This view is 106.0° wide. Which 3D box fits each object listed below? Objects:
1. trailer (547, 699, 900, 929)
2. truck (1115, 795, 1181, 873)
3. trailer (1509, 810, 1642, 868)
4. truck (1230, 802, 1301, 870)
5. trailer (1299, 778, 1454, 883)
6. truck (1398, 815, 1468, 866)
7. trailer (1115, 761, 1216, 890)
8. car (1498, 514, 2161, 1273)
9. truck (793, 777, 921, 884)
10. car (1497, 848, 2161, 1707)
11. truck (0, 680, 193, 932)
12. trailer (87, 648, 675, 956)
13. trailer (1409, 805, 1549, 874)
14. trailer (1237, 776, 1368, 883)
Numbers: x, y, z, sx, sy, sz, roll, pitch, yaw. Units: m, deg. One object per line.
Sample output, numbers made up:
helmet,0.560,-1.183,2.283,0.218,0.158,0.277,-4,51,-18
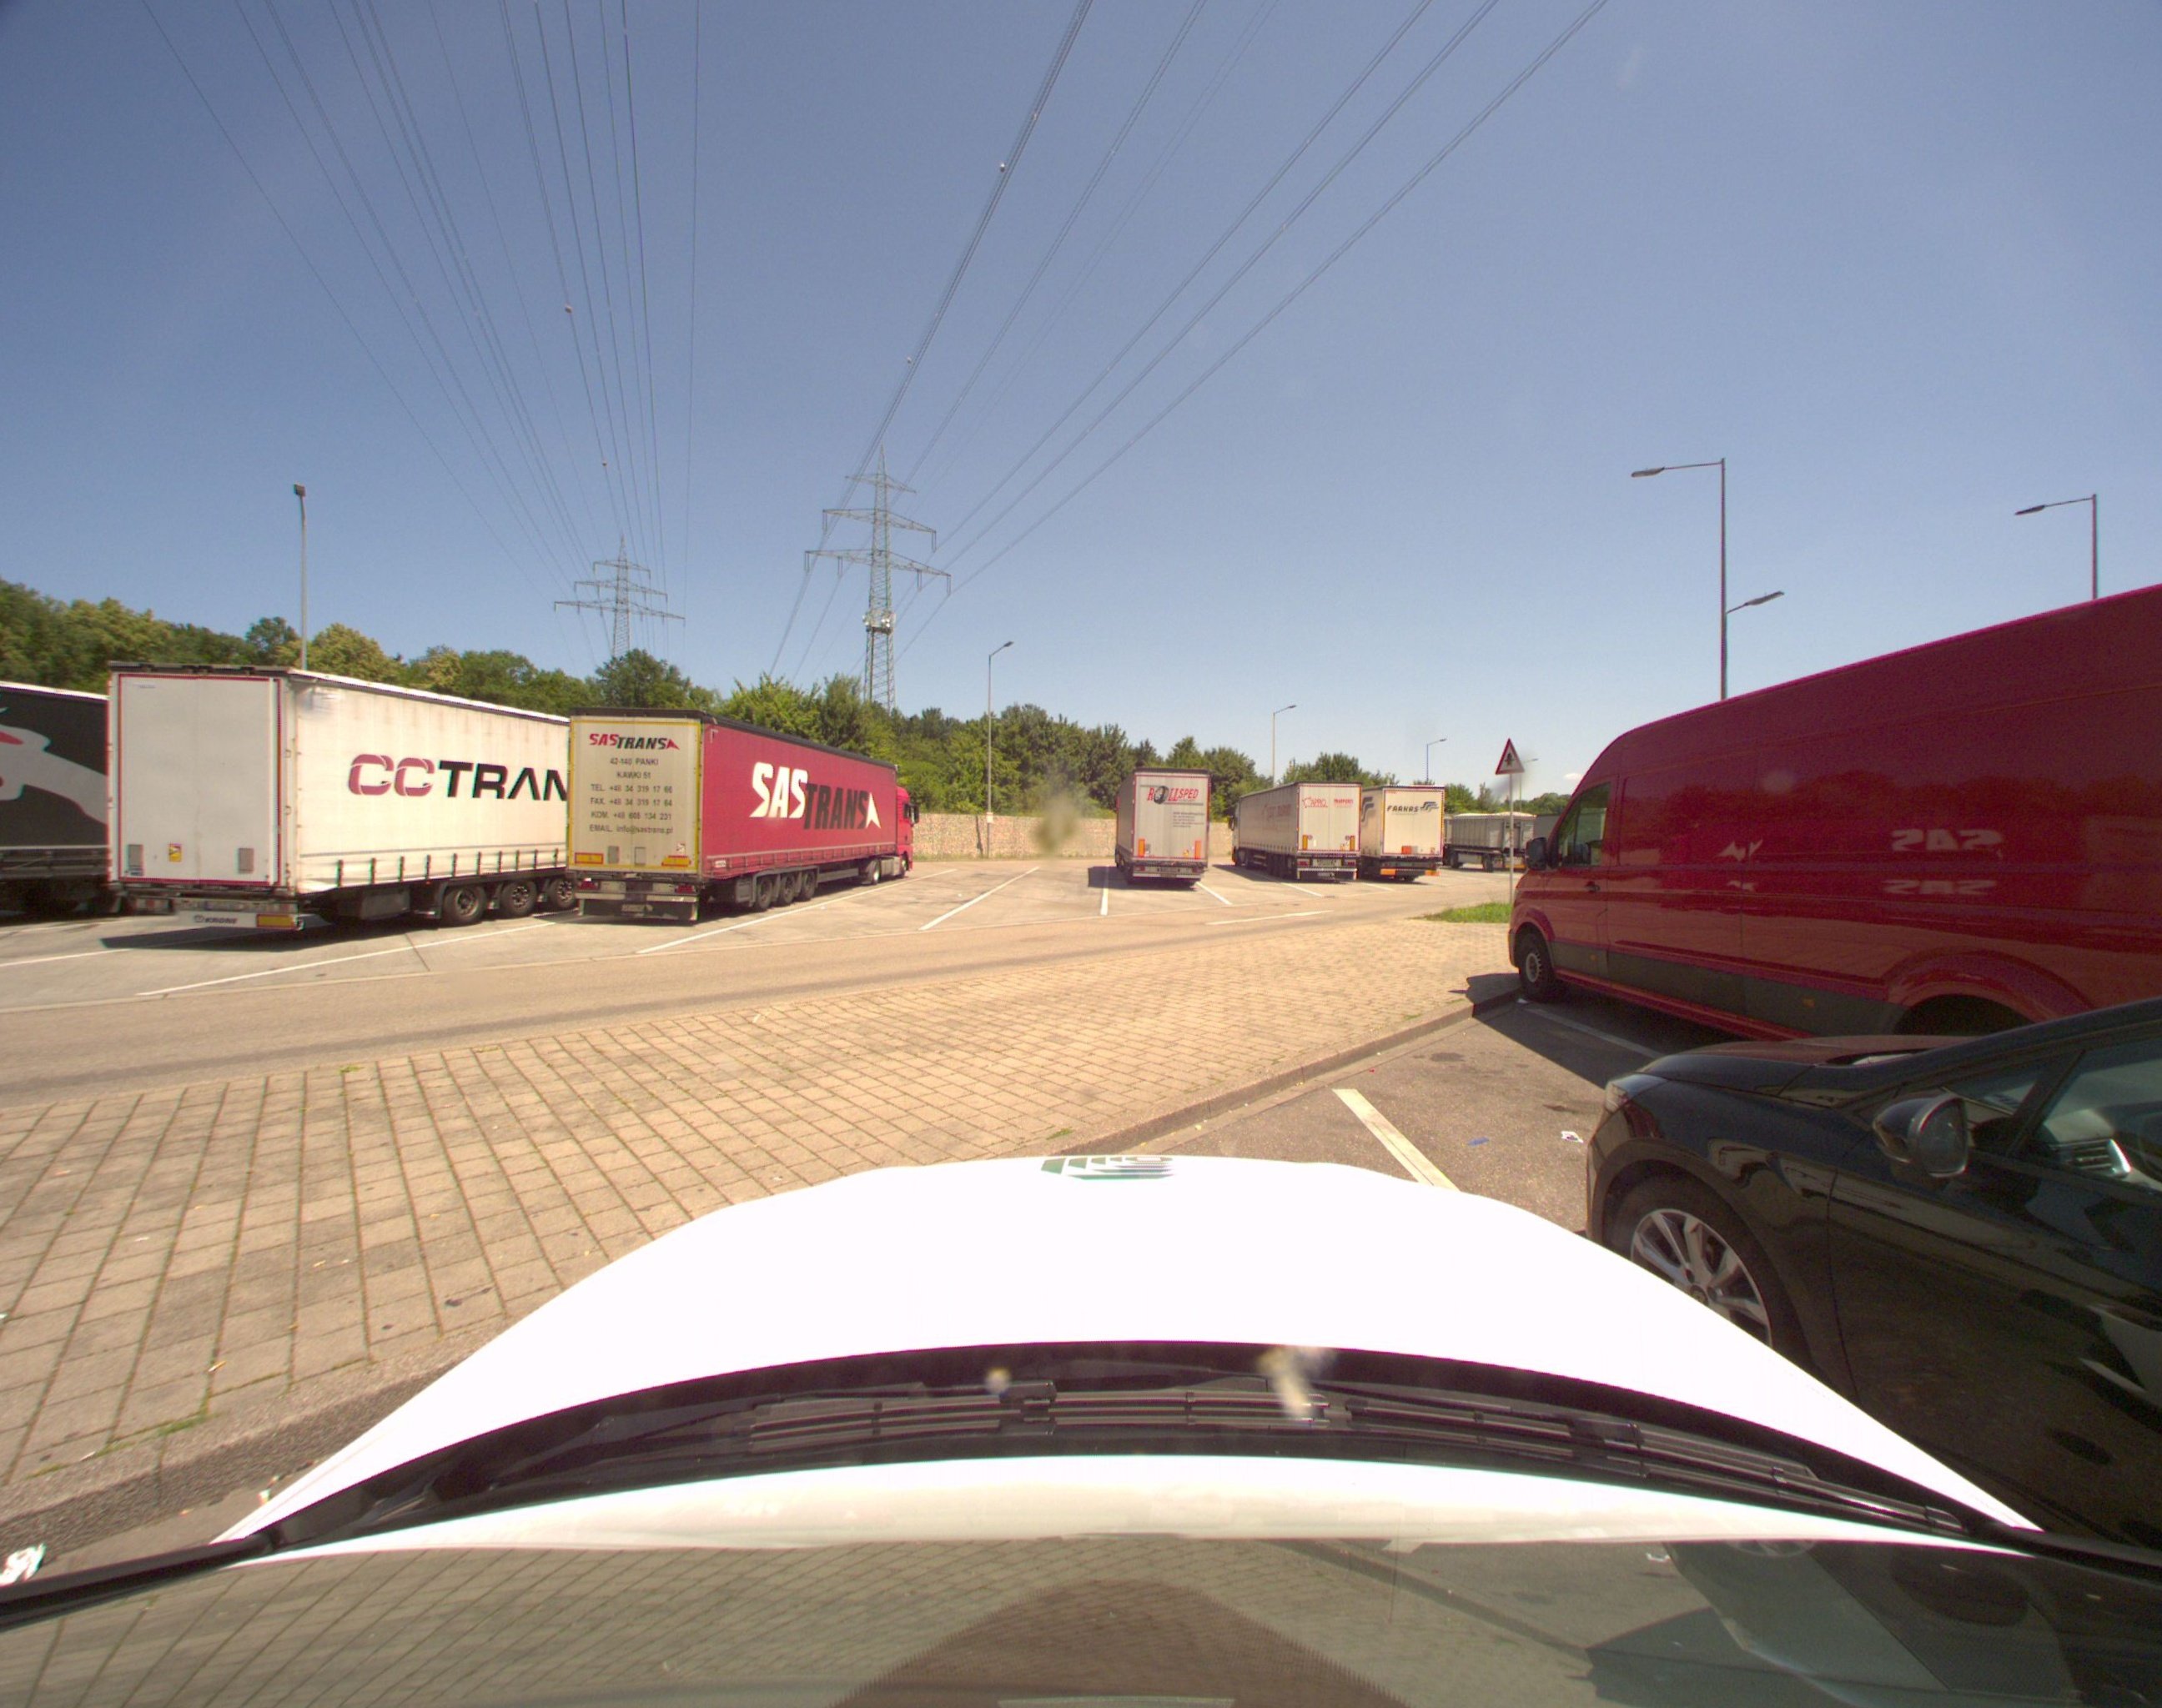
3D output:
trailer,-8.033,-0.953,21.667,2.896,4.131,13.731,1,2,2
truck,3.173,-0.984,39.919,2.841,3.483,5.486,1,1,2
trailer,38.377,-1.220,64.150,2.826,4.049,13.737,1,2,3
truck,10.167,-1.021,45.445,2.841,3.483,5.486,1,1,2
trailer,13.616,-1.113,39.298,2.828,4.132,13.730,1,2,2
truck,24.924,-0.997,57.963,2.840,3.364,5.488,1,1,3
trailer,3.029,-1.098,33.307,2.896,4.132,13.727,1,2,1
car,5.168,0.091,5.500,2.055,2.695,6.405,-1,1,6
truck,-7.795,-0.834,29.103,2.841,3.427,5.486,1,1,2
car,2.525,0.758,1.190,1.733,1.482,3.813,-1,1,-3
truck,-18.574,-0.805,13.572,2.692,4.016,4.326,1,2,2
trailer,-12.198,-0.890,16.338,2.718,4.209,10.175,1,2,2
trailer,24.535,-0.989,51.465,2.826,3.717,13.737,1,2,3
trailer,9.960,-1.147,38.634,2.828,4.132,13.730,1,2,2
